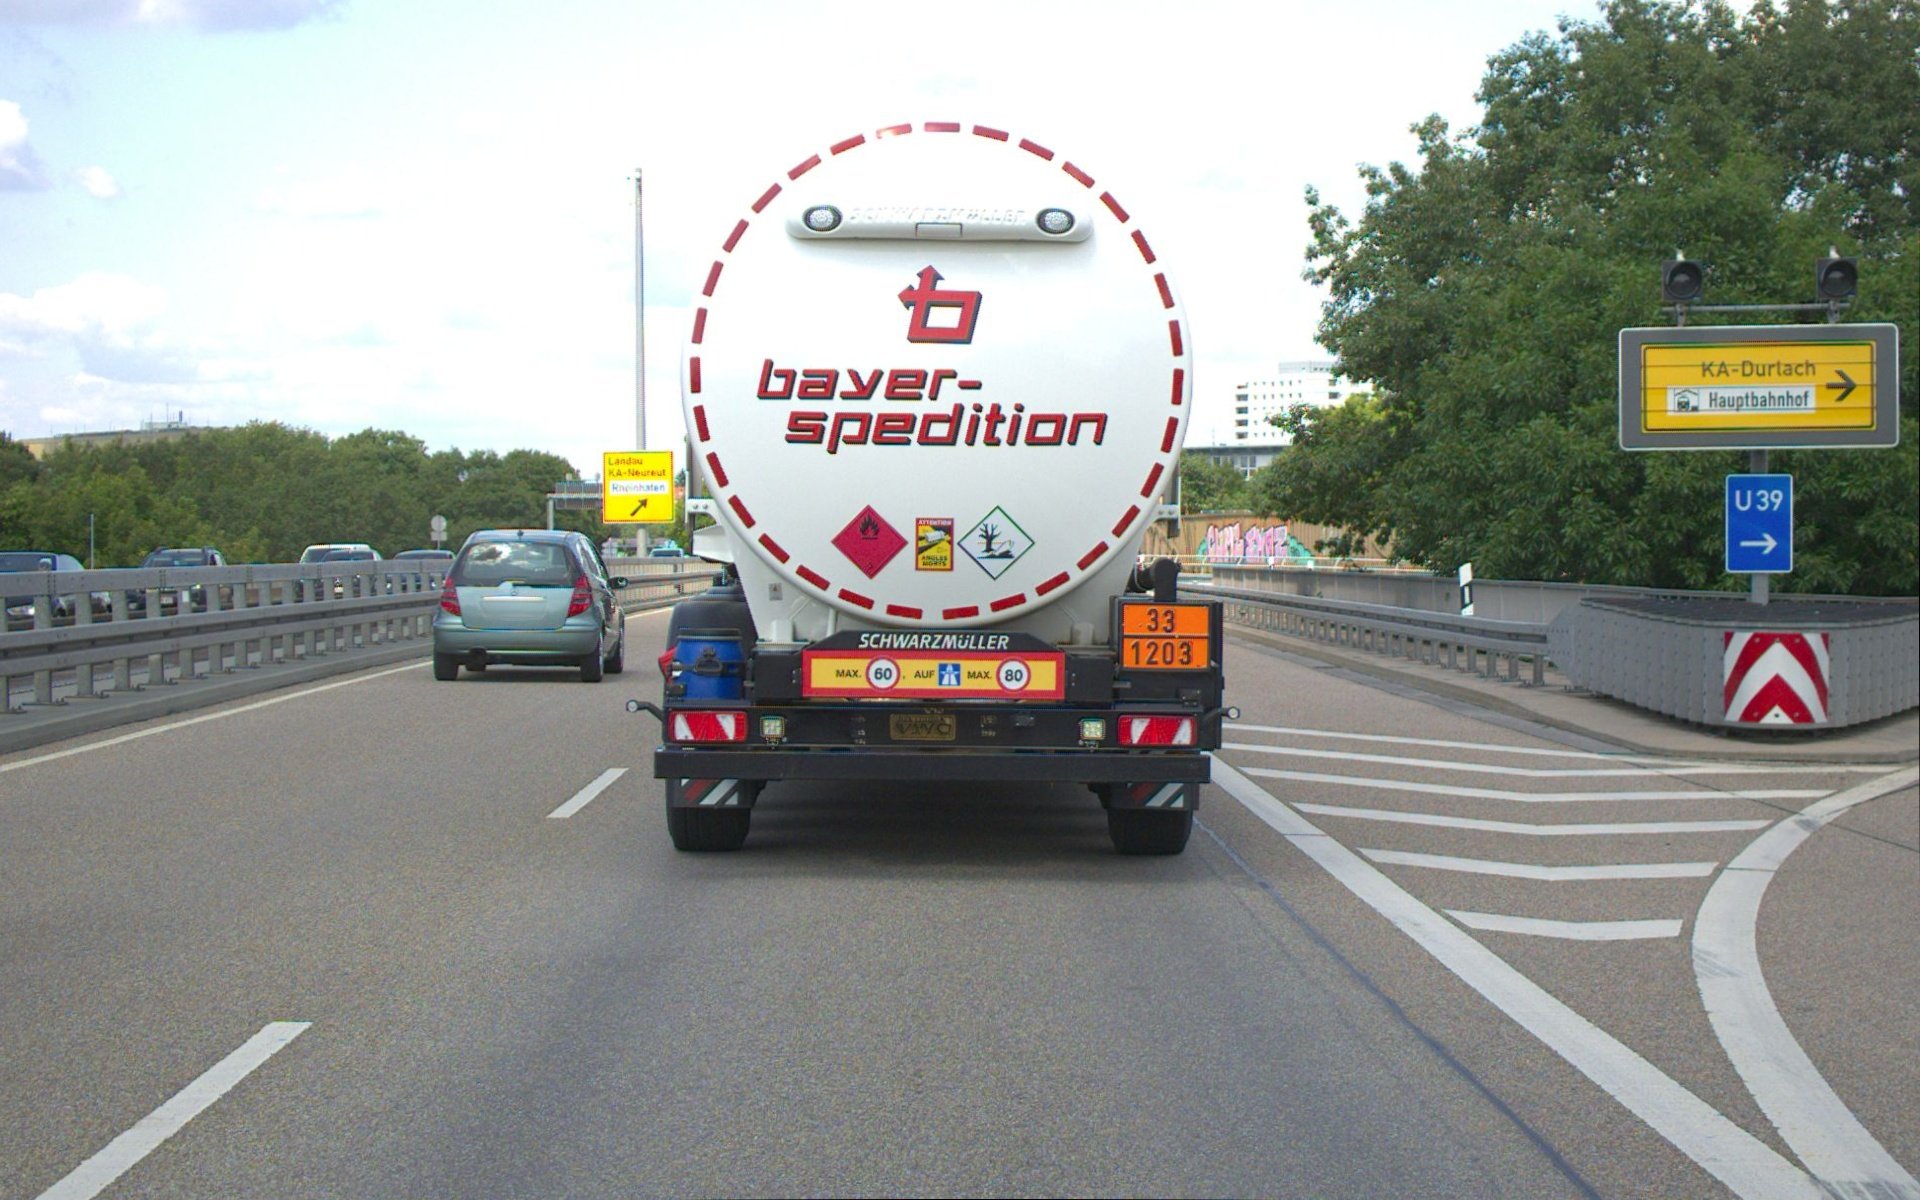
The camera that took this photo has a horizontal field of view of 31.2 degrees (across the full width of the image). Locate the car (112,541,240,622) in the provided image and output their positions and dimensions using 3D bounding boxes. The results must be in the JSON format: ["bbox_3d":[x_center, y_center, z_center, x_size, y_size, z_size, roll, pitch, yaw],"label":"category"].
[{"bbox_3d":[-16.503,-0.406,72.555,1.822,1.633,4.000,1,1,-1],"label":"car"}]

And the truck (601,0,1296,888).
[{"bbox_3d":[-0.145,-1.032,18.749,2.895,4.354,8.030,1,1,-1],"label":"truck"}]

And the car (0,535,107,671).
[{"bbox_3d":[-11.716,-0.008,42.134,1.675,1.566,4.061,1,1,-3],"label":"car"}]

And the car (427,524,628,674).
[{"bbox_3d":[-4.620,-0.052,37.191,1.747,1.526,4.000,0,1,-1],"label":"car"}]

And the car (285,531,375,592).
[{"bbox_3d":[-17.809,-1.094,97.345,1.890,1.634,4.513,1,1,-3],"label":"car"}]
